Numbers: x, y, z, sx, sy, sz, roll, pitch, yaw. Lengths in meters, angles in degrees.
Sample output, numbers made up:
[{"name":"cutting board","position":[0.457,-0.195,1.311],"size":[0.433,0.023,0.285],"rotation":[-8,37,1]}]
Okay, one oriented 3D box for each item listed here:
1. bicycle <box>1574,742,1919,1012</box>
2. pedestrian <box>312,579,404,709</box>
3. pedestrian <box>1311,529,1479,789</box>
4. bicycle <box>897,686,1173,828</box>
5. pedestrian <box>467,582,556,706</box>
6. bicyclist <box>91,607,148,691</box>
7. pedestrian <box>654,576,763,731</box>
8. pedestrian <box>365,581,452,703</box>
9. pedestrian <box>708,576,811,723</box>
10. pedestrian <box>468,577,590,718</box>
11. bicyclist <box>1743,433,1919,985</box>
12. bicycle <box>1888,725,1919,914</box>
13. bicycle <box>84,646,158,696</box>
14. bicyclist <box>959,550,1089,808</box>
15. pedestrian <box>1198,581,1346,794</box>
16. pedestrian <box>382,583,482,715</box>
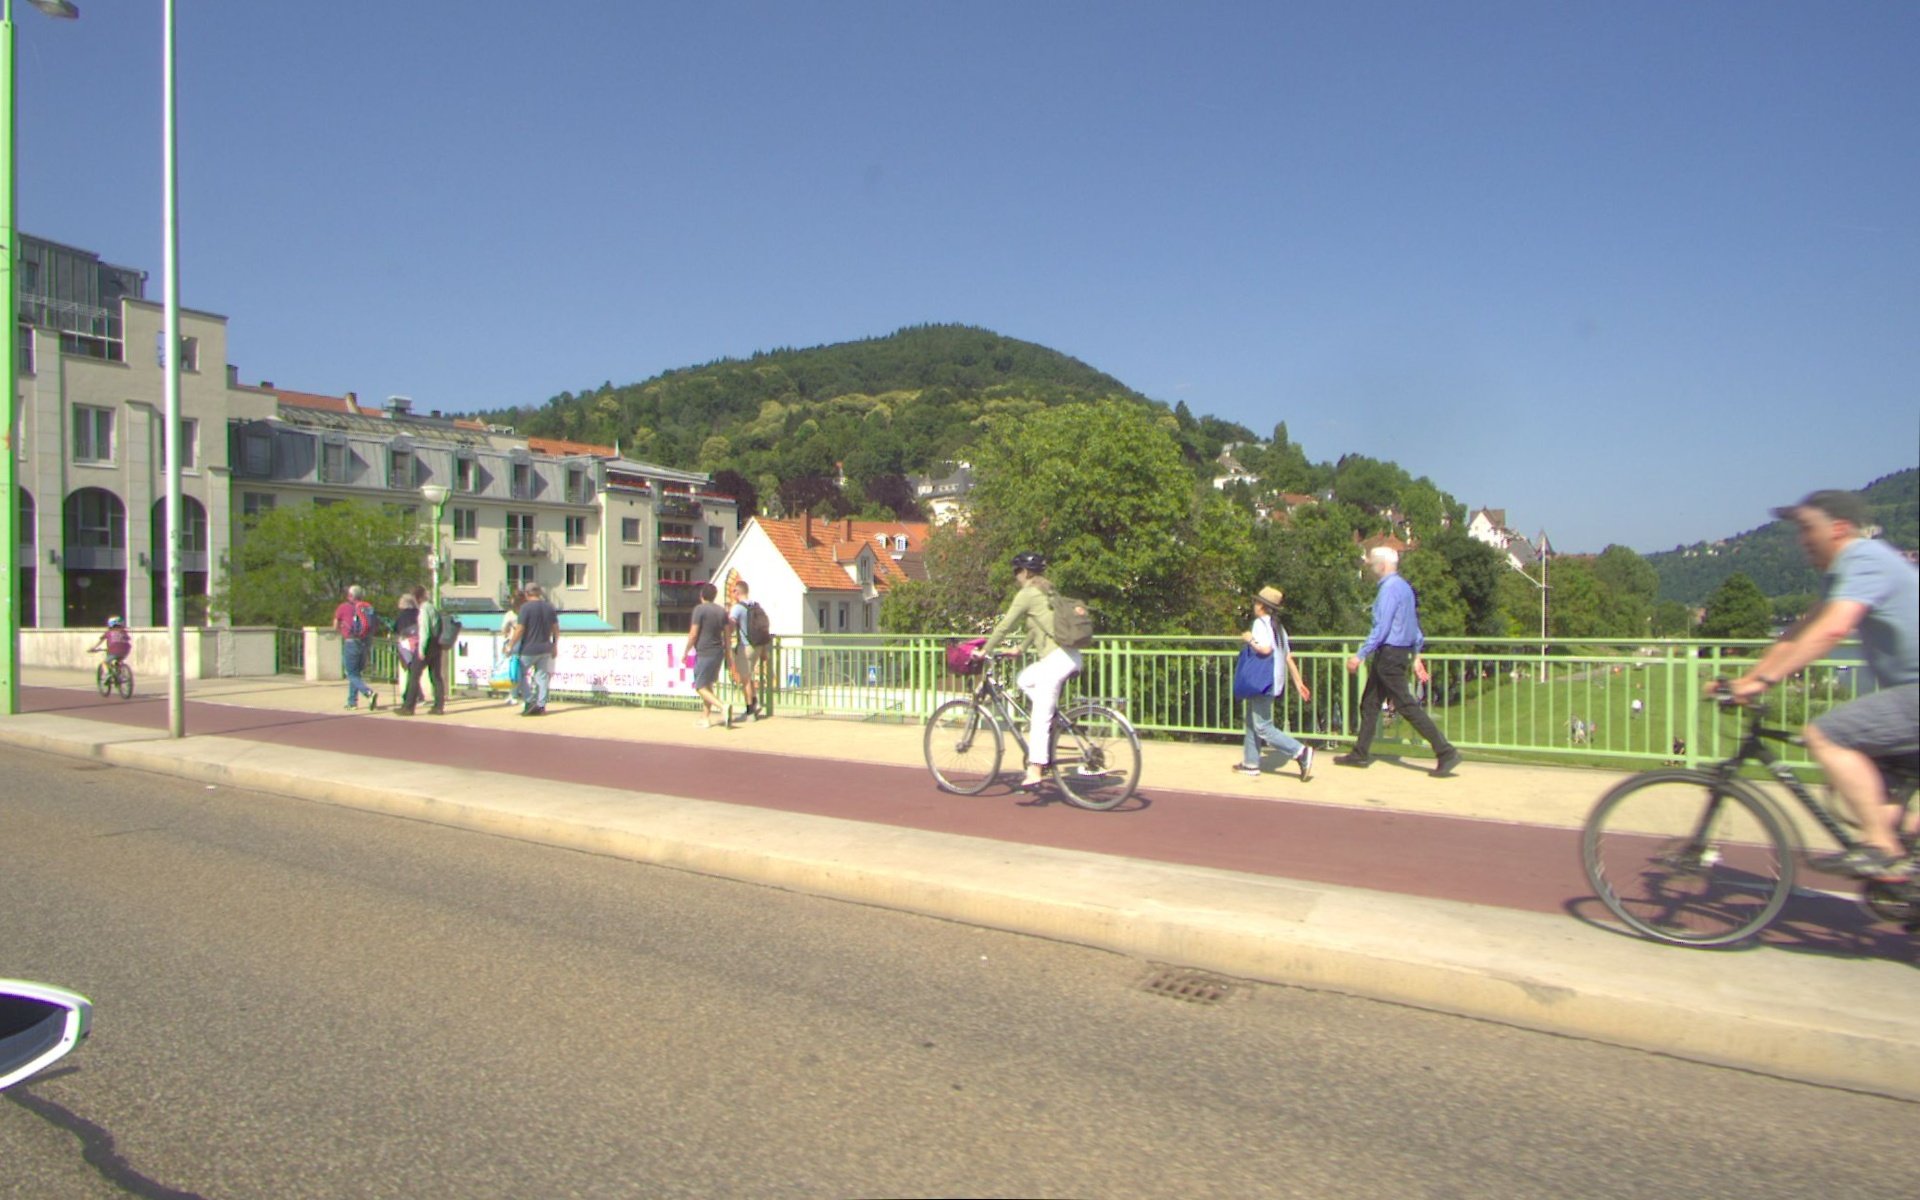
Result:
[{"name":"bicycle","position":[3.322,0.995,3.636],"size":[1.839,0.776,0.592],"rotation":[-1,1,30]},{"name":"pedestrian","position":[-8.781,0.617,14.617],"size":[1.001,1.826,0.737],"rotation":[0,2,32]},{"name":"pedestrian","position":[3.529,0.440,8.096],"size":[1.121,1.923,0.924],"rotation":[0,1,32]},{"name":"bicycle","position":[0.491,1.036,6.935],"size":[1.839,0.776,0.592],"rotation":[-1,1,30]},{"name":"pedestrian","position":[-6.699,0.634,14.964],"size":[1.001,1.770,0.737],"rotation":[0,2,32]},{"name":"bicyclist","position":[-14.449,0.833,17.218],"size":[0.659,1.402,0.532],"rotation":[0,2,33]},{"name":"pedestrian","position":[-2.970,0.601,11.836],"size":[1.001,1.741,0.737],"rotation":[0,2,32]},{"name":"pedestrian","position":[-8.472,0.621,15.391],"size":[1.001,1.801,0.737],"rotation":[0,2,32]},{"name":"pedestrian","position":[-2.484,0.593,12.429],"size":[1.001,1.741,0.737],"rotation":[0,1,32]},{"name":"pedestrian","position":[-5.792,0.600,13.476],"size":[1.190,1.801,0.975],"rotation":[0,1,32]},{"name":"bicyclist","position":[3.317,0.366,3.615],"size":[0.691,1.844,0.585],"rotation":[0,1,31]},{"name":"bicycle","position":[5.041,0.973,4.042],"size":[1.804,0.776,0.592],"rotation":[-1,1,30]},{"name":"bicycle","position":[-14.457,1.202,17.245],"size":[1.637,0.776,0.512],"rotation":[-1,1,33]},{"name":"bicyclist","position":[0.449,0.517,6.926],"size":[0.691,1.672,0.585],"rotation":[0,1,31]},{"name":"pedestrian","position":[2.462,0.633,7.865],"size":[0.920,1.550,0.827],"rotation":[0,1,32]},{"name":"pedestrian","position":[-7.264,0.648,13.780],"size":[1.058,1.741,0.753],"rotation":[0,2,32]}]
